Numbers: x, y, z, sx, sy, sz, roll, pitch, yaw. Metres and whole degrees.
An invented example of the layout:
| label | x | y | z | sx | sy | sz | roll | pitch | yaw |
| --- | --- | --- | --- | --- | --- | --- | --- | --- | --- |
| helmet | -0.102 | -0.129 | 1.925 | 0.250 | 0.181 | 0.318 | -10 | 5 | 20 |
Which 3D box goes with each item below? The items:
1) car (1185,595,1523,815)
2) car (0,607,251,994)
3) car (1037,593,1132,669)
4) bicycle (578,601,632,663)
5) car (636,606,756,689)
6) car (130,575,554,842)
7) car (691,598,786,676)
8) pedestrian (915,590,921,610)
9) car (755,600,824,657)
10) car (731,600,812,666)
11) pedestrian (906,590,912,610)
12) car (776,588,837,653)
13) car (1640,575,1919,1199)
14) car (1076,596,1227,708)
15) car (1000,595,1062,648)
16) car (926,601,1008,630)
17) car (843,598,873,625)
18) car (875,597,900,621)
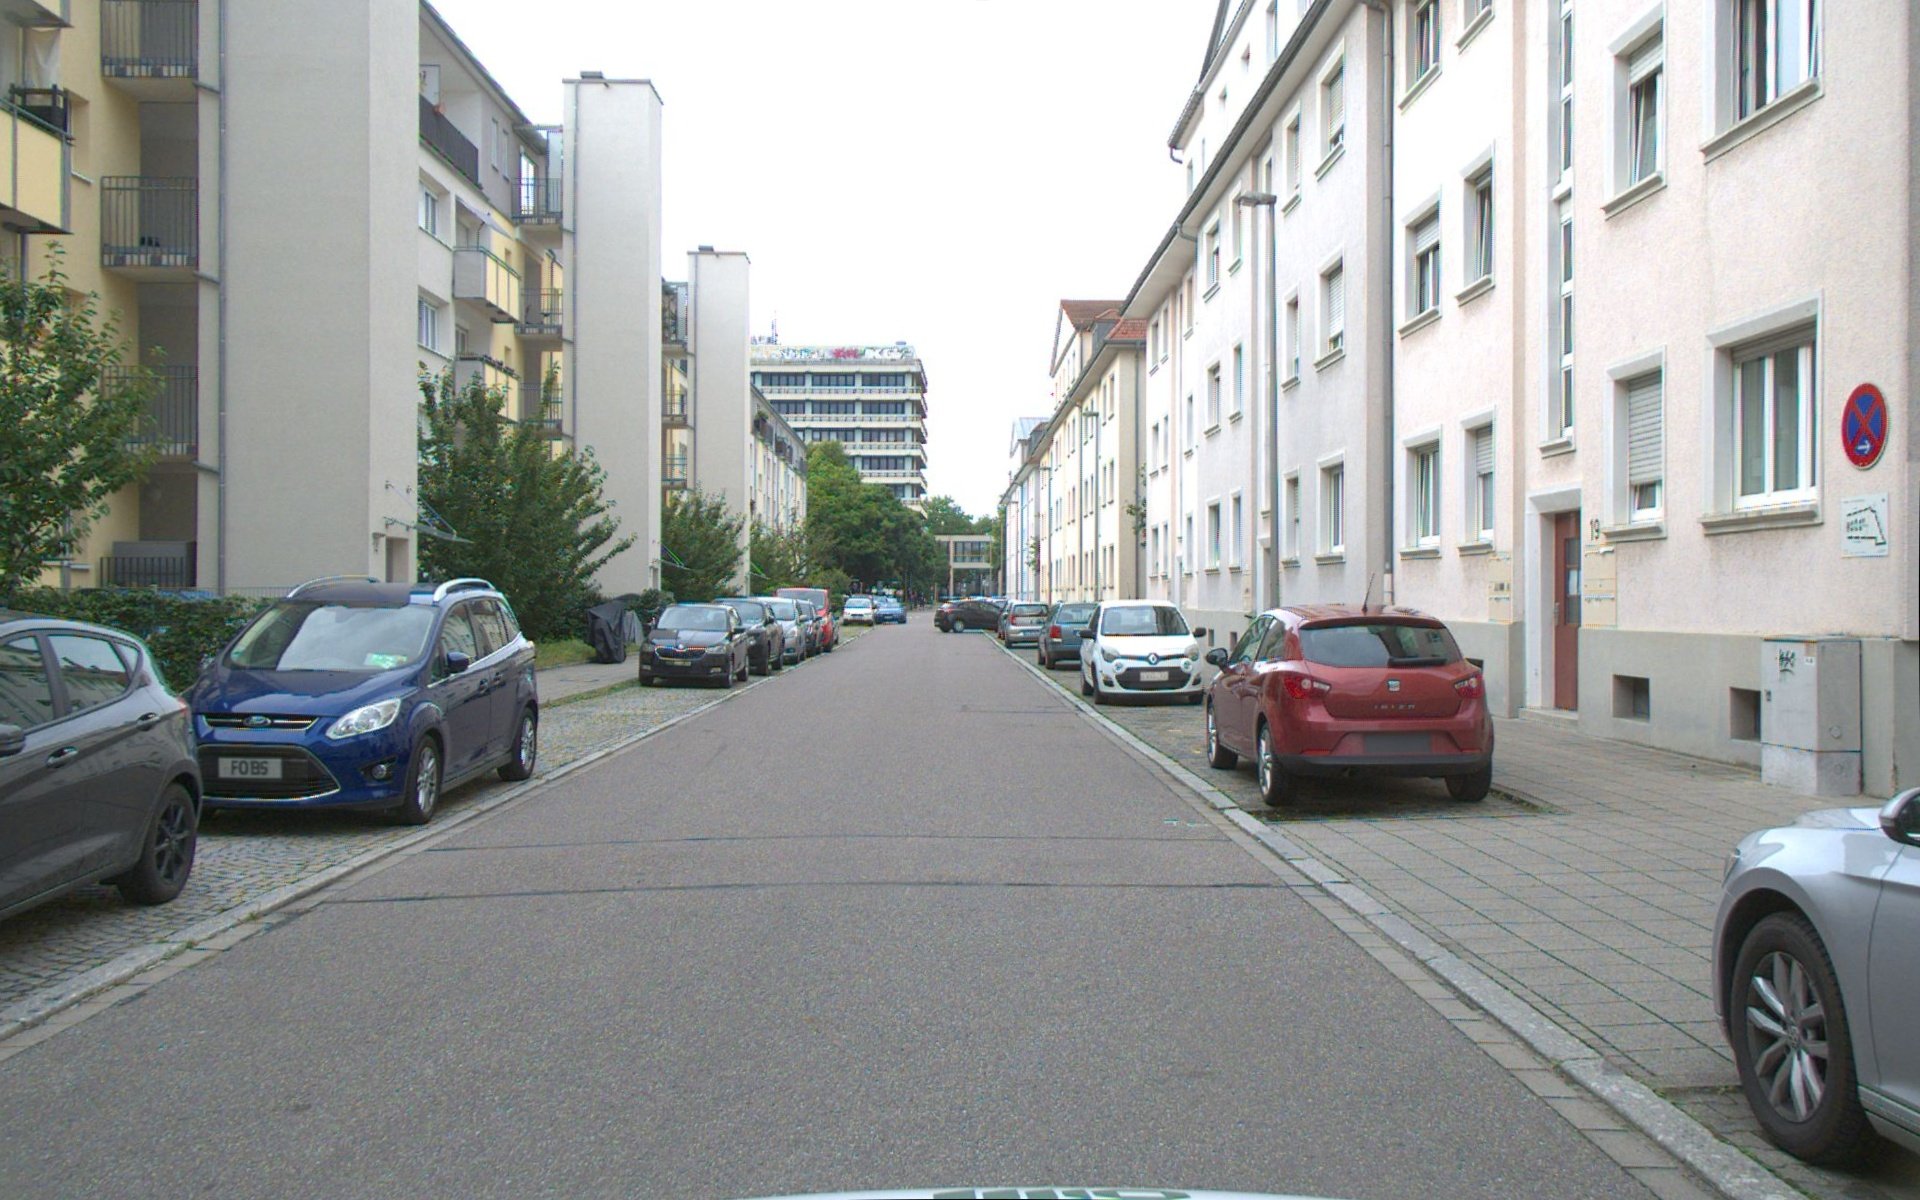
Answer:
| label | x | y | z | sx | sy | sz | roll | pitch | yaw |
| --- | --- | --- | --- | --- | --- | --- | --- | --- | --- |
| car | 2.989 | 0.714 | 13.386 | 1.636 | 1.445 | 3.999 | -2 | 0 | -2 |
| car | -4.688 | 0.797 | 6.860 | 1.794 | 1.484 | 4.258 | 1 | 0 | -3 |
| car | 2.746 | 0.653 | 37.142 | 1.782 | 1.604 | 3.752 | 1 | 0 | -1 |
| bicycle | -7.725 | 0.680 | 36.082 | 0.853 | 1.311 | 1.891 | 0 | 0 | -3 |
| car | -4.813 | 0.830 | 30.574 | 1.637 | 1.375 | 3.816 | 1 | 0 | -1 |
| car | -4.418 | 0.673 | 12.583 | 1.734 | 1.672 | 4.353 | 1 | 0 | -3 |
| car | -4.802 | 0.763 | 36.258 | 1.637 | 1.591 | 3.663 | 1 | 0 | -1 |
| pedestrian | -4.470 | 0.022 | 175.924 | 0.617 | 2.049 | 0.683 | 2 | 0 | -2 |
| car | -4.847 | 0.787 | 47.424 | 1.637 | 1.513 | 3.741 | 1 | 0 | -1 |
| car | -4.762 | 0.797 | 42.274 | 1.637 | 1.552 | 4.252 | 1 | 0 | -1 |
| pedestrian | -5.380 | 0.018 | 174.133 | 0.617 | 2.049 | 0.683 | 2 | 0 | -2 |
| car | -4.838 | 0.619 | 52.530 | 1.637 | 1.972 | 3.741 | 1 | 0 | -1 |
| car | 3.050 | 0.705 | 2.861 | 1.720 | 1.493 | 4.599 | 1 | 0 | -2 |
| car | 2.815 | 0.721 | 25.036 | 1.782 | 1.531 | 3.752 | 1 | 0 | -1 |
| car | 2.275 | 0.669 | 53.771 | 1.782 | 1.604 | 3.883 | 1 | 0 | -1 |
| car | 0.322 | 0.689 | 74.034 | 3.652 | 1.235 | 1.544 | 1 | 0 | 0 |
| car | -5.748 | 0.633 | 93.310 | 1.507 | 1.476 | 3.741 | 1 | 0 | -1 |
| car | -4.564 | 0.577 | 104.111 | 1.508 | 1.476 | 3.739 | 0 | 0 | -3 |
